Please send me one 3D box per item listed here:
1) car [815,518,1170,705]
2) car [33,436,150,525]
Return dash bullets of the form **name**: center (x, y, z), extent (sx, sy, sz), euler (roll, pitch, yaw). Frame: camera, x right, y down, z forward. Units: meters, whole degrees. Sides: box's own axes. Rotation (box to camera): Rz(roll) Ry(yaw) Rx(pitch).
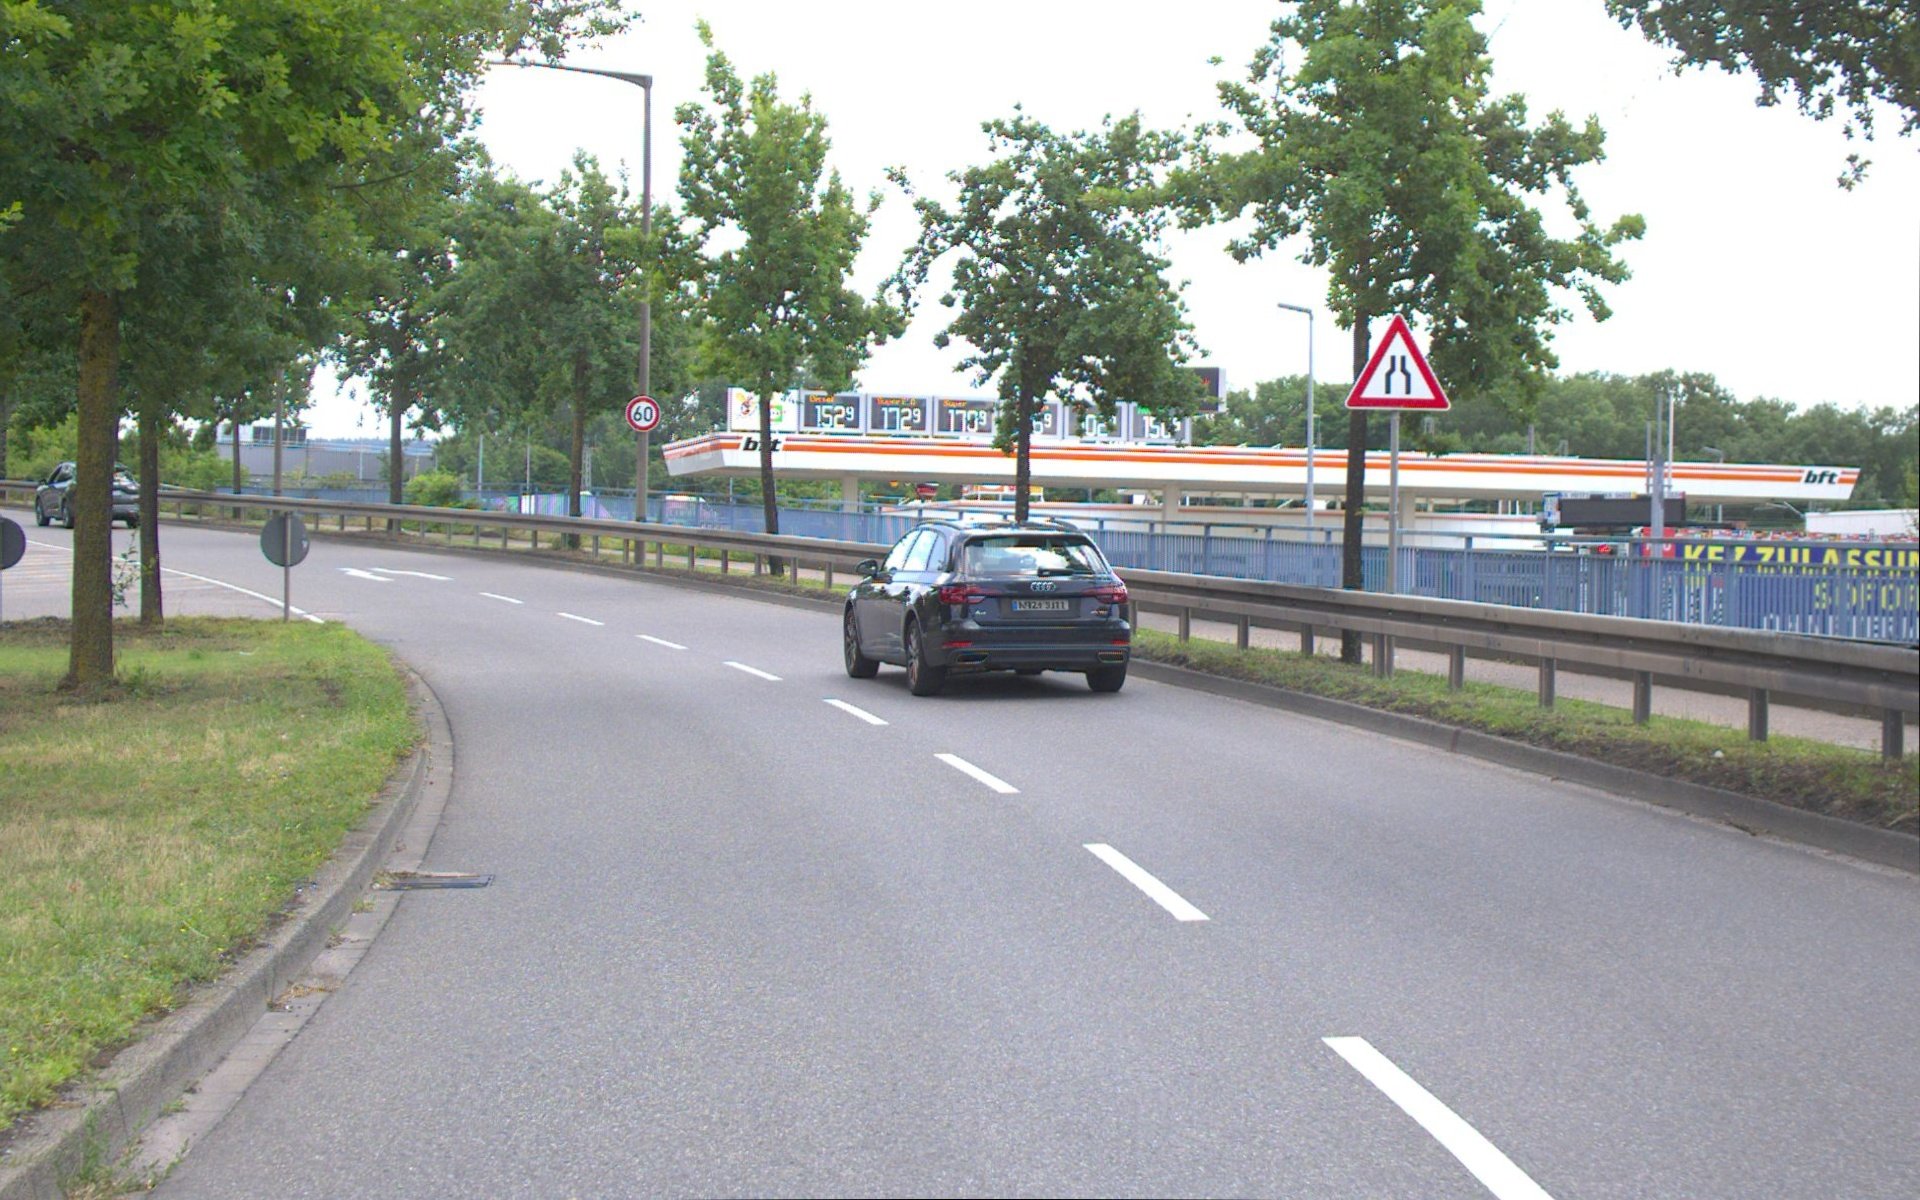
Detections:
- **car**: center (0.177, 0.047, 29.637), extent (1.993, 1.386, 4.577), euler (2, 1, -13)
- **car**: center (-21.674, -2.943, 85.670), extent (1.993, 2.030, 4.714), euler (1, 0, -24)
